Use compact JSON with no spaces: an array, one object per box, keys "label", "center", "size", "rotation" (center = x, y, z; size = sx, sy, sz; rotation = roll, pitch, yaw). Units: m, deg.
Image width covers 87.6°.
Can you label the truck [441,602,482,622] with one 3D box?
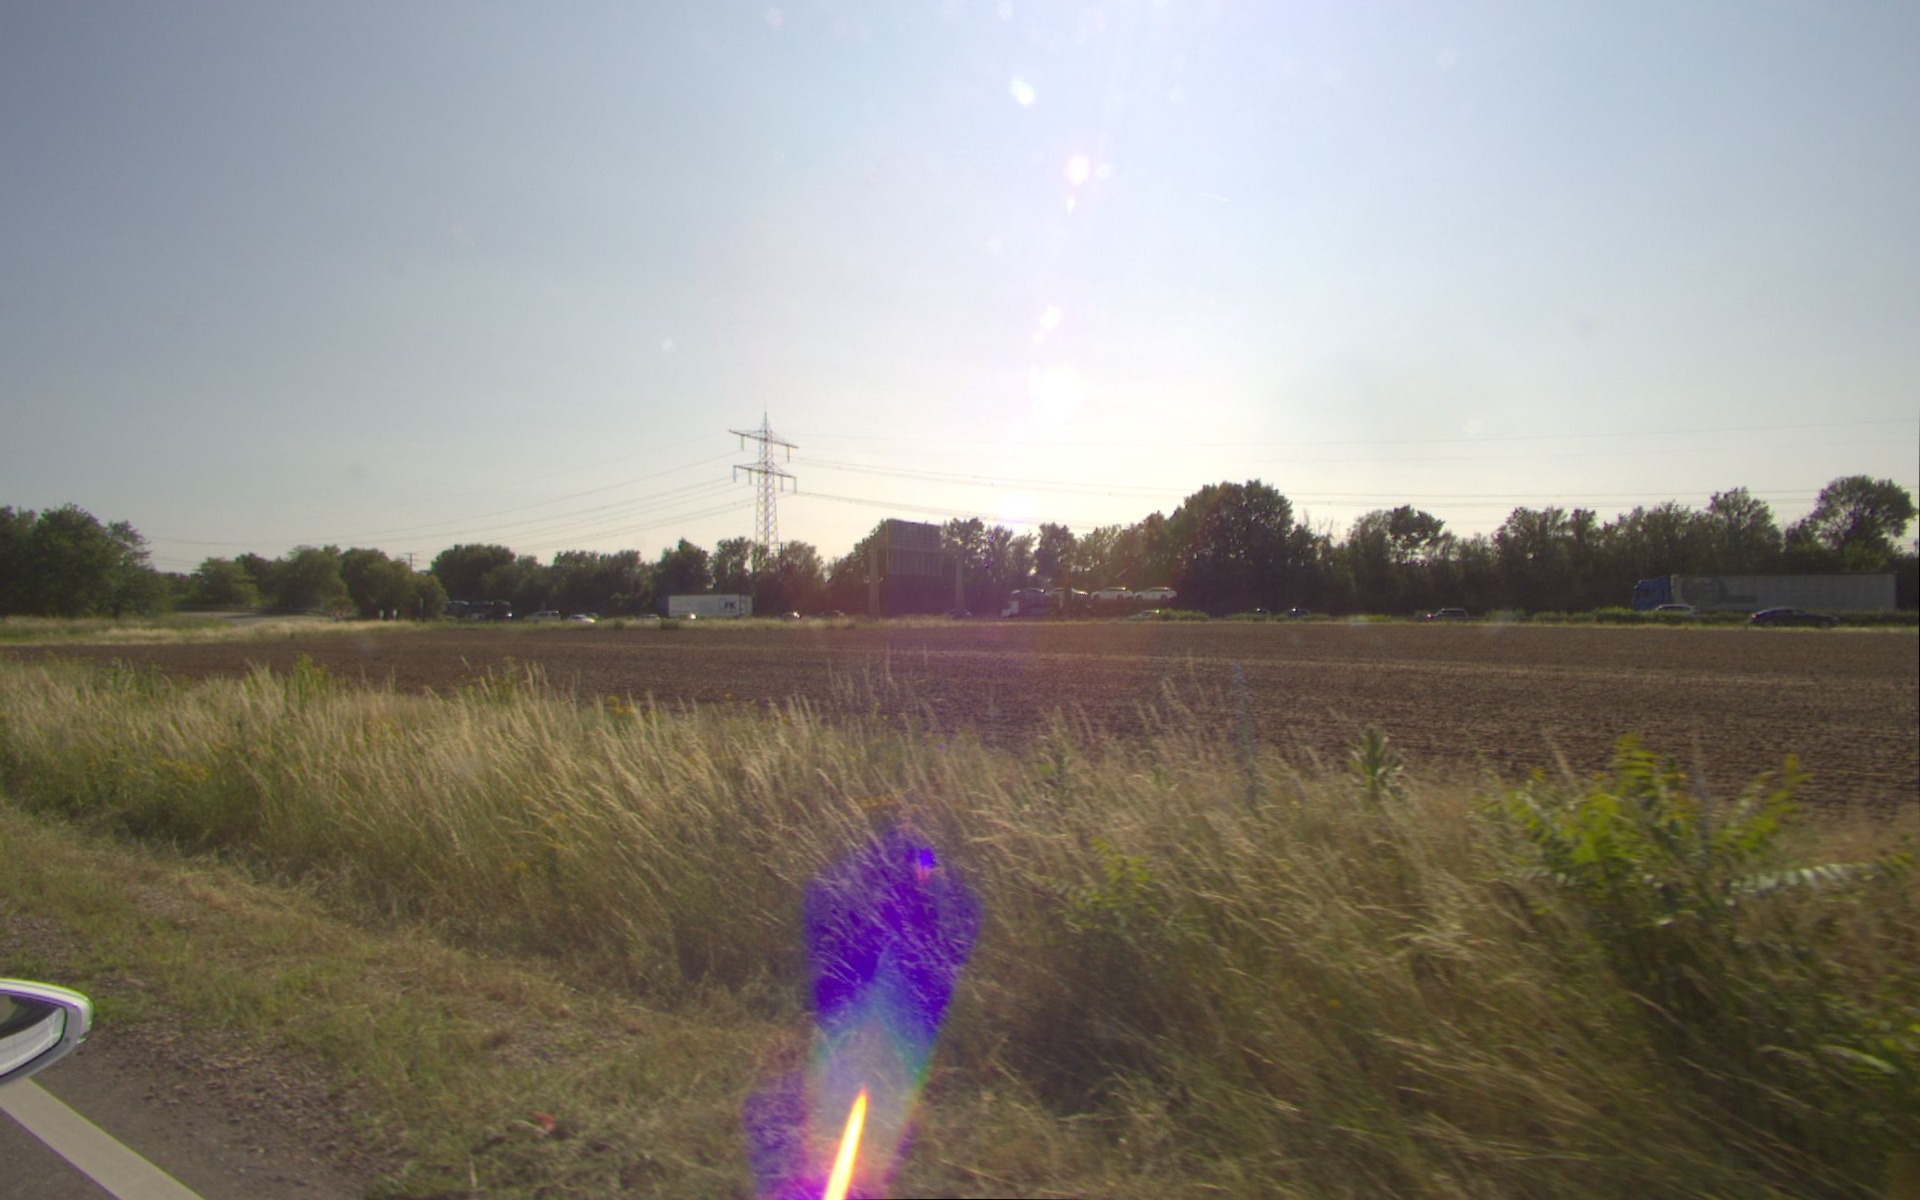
[{"label":"truck","center":[-83.323,1.979,167.240],"size":[6.333,3.310,3.279],"rotation":[0,0,31]}]

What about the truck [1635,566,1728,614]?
[{"label":"truck","center":[58.949,-0.783,82.046],"size":[6.001,3.782,3.065],"rotation":[0,0,33]}]

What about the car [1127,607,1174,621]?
[{"label":"car","center":[18.822,1.377,98.749],"size":[4.186,1.403,1.848],"rotation":[0,-1,32]}]

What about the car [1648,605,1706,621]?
[{"label":"car","center":[54.623,0.969,76.332],"size":[3.530,1.166,1.392],"rotation":[0,-1,33]}]

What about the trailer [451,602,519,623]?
[{"label":"trailer","center":[-77.913,1.978,163.987],"size":[13.253,3.310,3.279],"rotation":[0,0,31]}]

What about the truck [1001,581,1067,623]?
[{"label":"truck","center":[8.289,0.252,112.678],"size":[6.606,4.512,3.416],"rotation":[-1,0,30]}]

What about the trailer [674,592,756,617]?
[{"label":"trailer","center":[-34.128,0.611,139.077],"size":[12.272,3.310,3.279],"rotation":[-1,0,31]}]

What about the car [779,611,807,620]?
[{"label":"car","center":[-21.797,2.056,130.398],"size":[3.527,1.166,1.393],"rotation":[0,-1,30]}]

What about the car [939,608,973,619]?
[{"label":"car","center":[-0.407,1.438,109.765],"size":[3.527,1.166,1.393],"rotation":[0,-1,30]}]

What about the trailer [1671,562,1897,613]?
[{"label":"trailer","center":[64.130,-0.848,78.610],"size":[13.438,3.782,3.065],"rotation":[0,0,33]}]

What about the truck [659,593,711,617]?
[{"label":"truck","center":[-38.975,0.677,141.972],"size":[6.876,3.310,3.279],"rotation":[-1,0,31]}]

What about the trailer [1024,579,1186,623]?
[{"label":"trailer","center":[15.499,0.151,108.505],"size":[17.301,4.512,3.416],"rotation":[-1,0,30]}]

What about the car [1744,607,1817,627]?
[{"label":"car","center":[54.532,1.131,66.610],"size":[3.566,1.250,1.544],"rotation":[0,-3,32]}]
